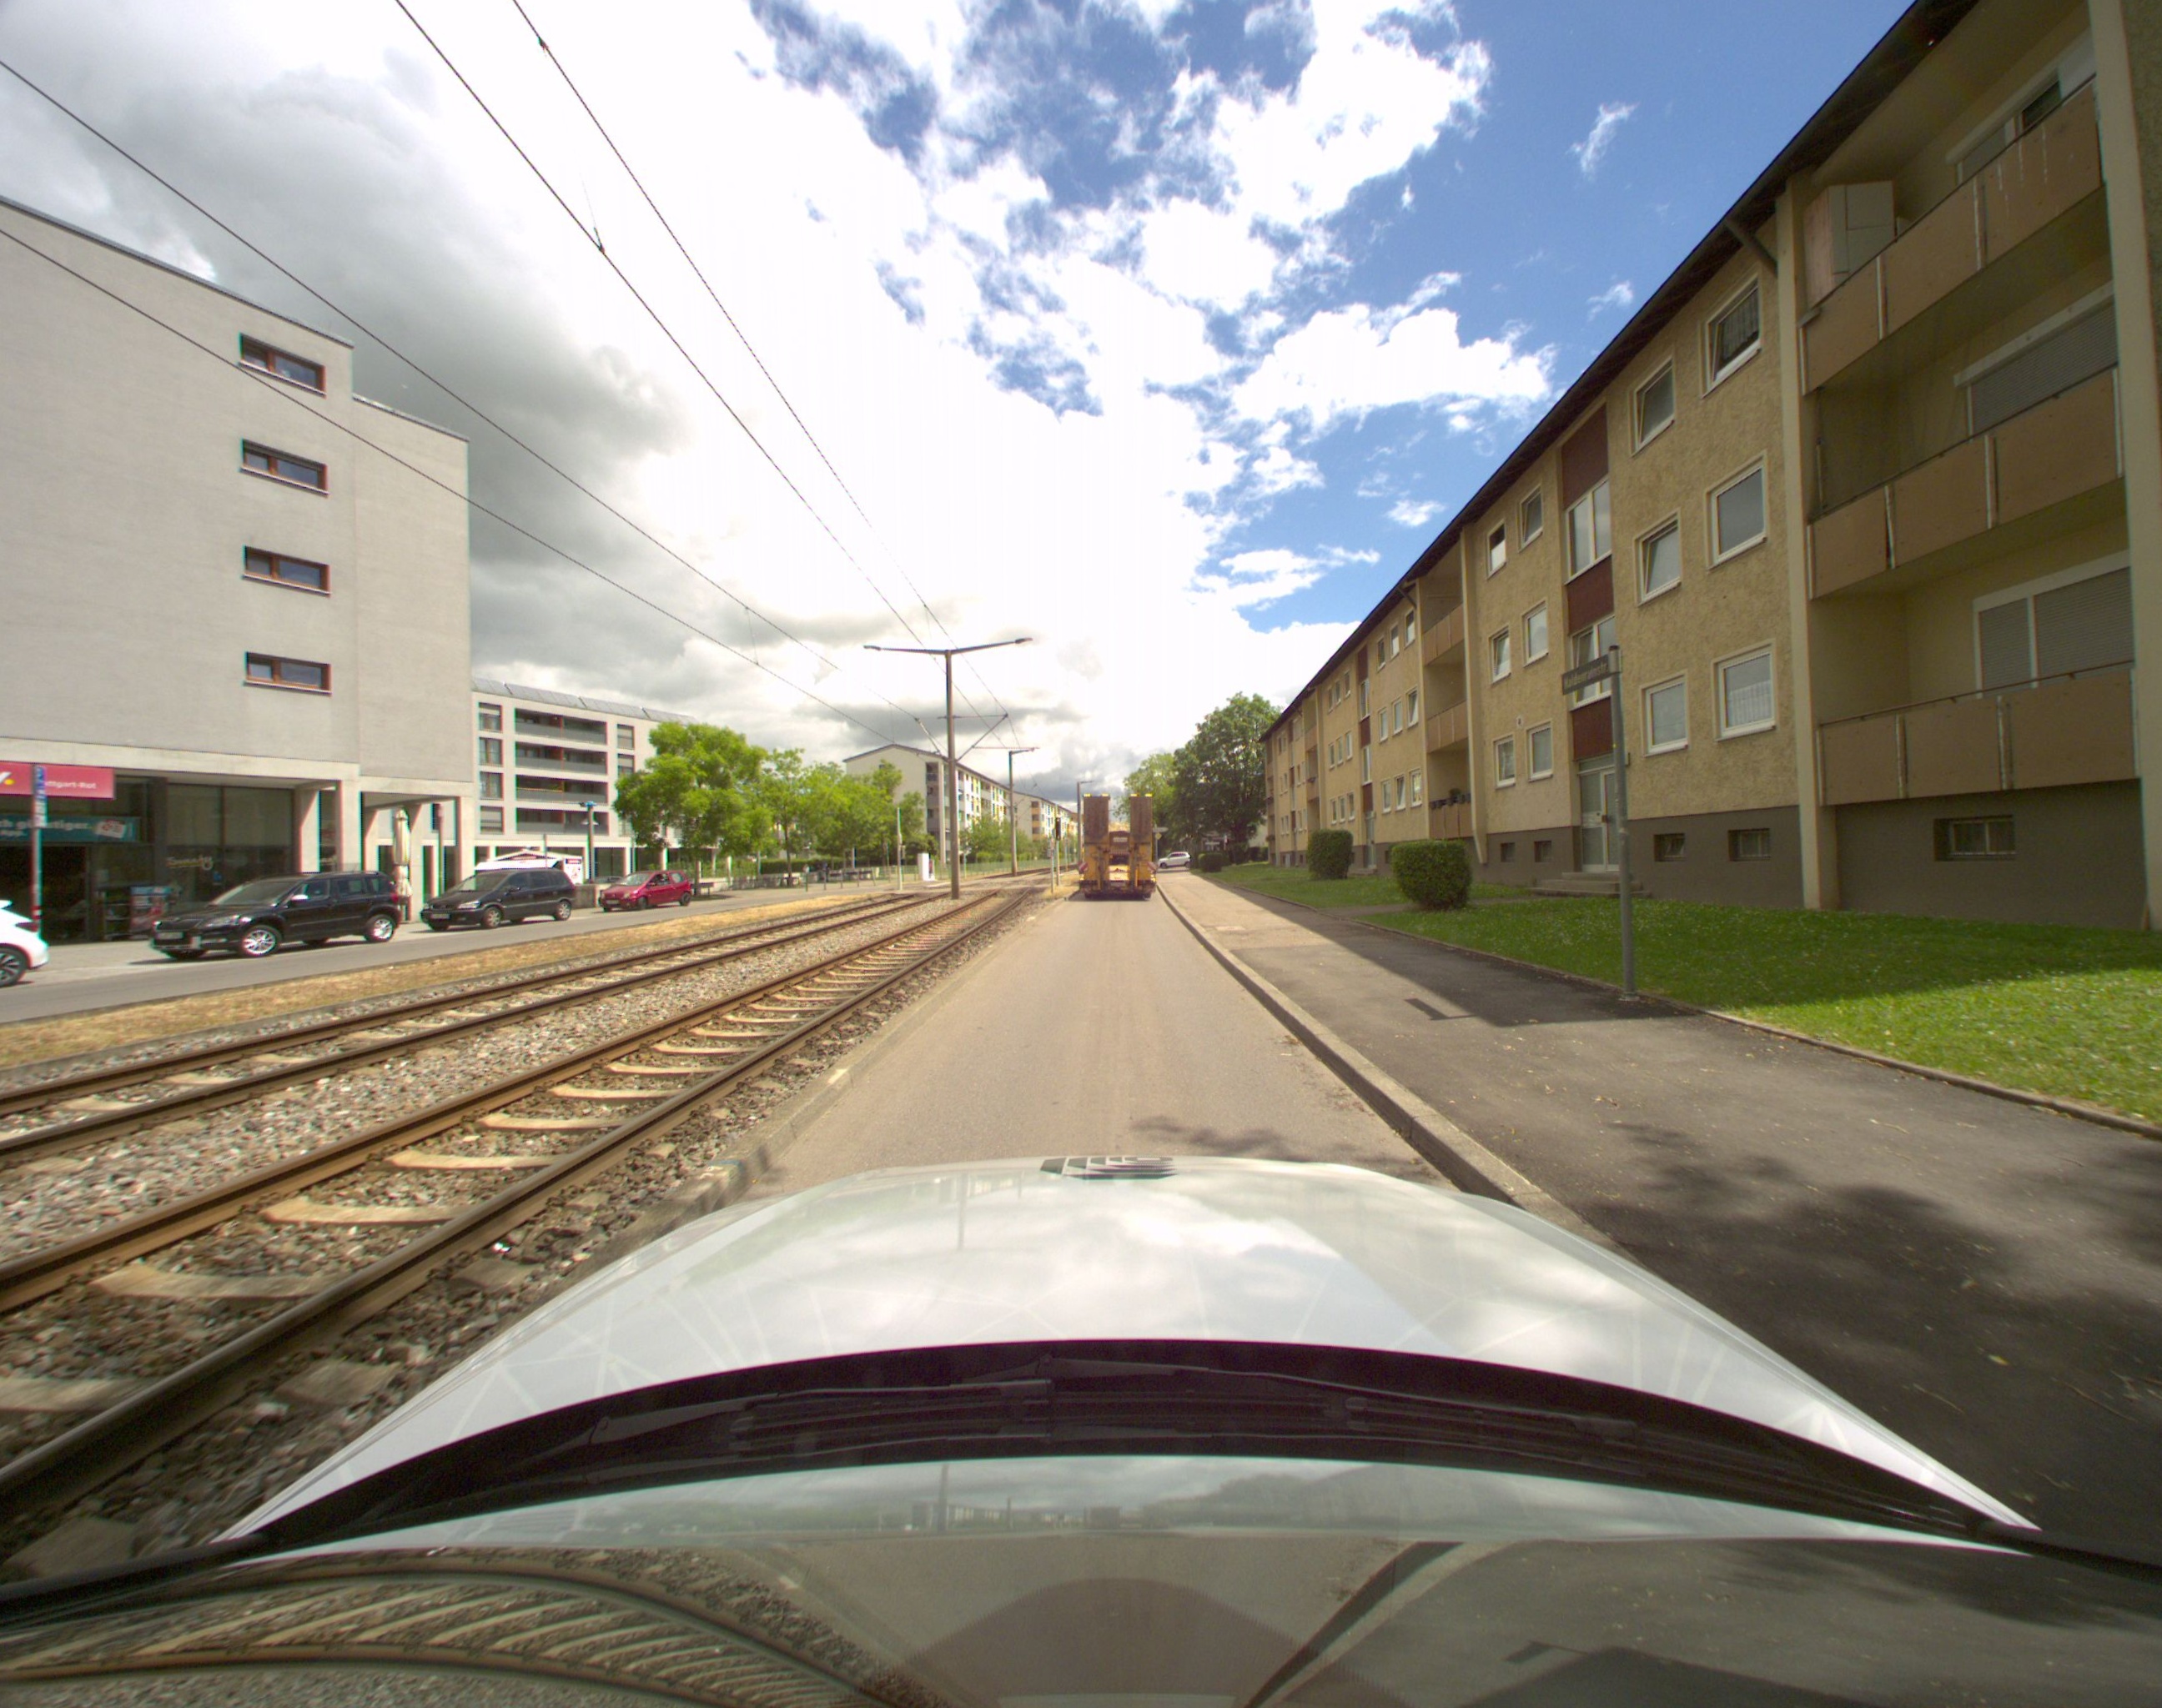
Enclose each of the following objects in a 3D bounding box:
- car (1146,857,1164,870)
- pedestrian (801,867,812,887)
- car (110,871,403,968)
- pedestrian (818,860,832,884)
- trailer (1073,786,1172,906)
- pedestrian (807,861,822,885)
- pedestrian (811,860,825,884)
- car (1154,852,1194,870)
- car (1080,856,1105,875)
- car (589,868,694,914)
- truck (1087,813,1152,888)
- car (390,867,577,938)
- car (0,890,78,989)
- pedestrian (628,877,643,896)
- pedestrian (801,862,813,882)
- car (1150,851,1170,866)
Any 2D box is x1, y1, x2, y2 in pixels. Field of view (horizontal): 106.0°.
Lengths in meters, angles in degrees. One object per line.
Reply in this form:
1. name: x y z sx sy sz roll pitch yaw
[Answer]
1. car: 8.942 1.110 98.972 1.985 1.387 4.004 -3 1 3
2. pedestrian: -20.934 1.757 62.128 0.539 1.547 0.532 -3 0 24
3. car: -17.285 1.280 17.443 1.986 1.662 4.101 -1 1 1
4. pedestrian: -17.313 1.219 55.080 0.619 1.573 0.559 -3 0 9
5. trailer: 1.506 -0.313 32.432 3.040 3.772 11.616 -3 1 1
6. pedestrian: -17.531 1.245 53.595 0.618 1.573 0.701 -3 0 15
7. pedestrian: -17.518 1.201 54.304 0.618 1.573 0.560 -3 0 14
8. car: 9.163 0.676 79.836 3.571 1.584 2.008 -3 -1 15
9. car: 1.092 1.059 75.828 1.793 1.652 4.138 -3 -1 6
10. car: -16.267 1.349 30.338 1.603 1.426 3.433 -3 1 10
11. truck: 1.855 -0.212 41.481 2.823 3.330 7.987 -3 1 1
12. car: -16.956 1.300 23.405 1.983 1.648 4.107 -3 1 6
13. car: -17.800 1.417 11.388 1.744 1.475 4.411 -3 1 9
14. pedestrian: -26.133 1.893 47.760 0.494 1.096 0.581 -2 -1 28
15. pedestrian: -17.579 1.175 52.307 0.496 1.267 0.502 -3 0 7
16. car: 9.094 0.523 93.827 1.985 1.618 4.004 -3 1 3
